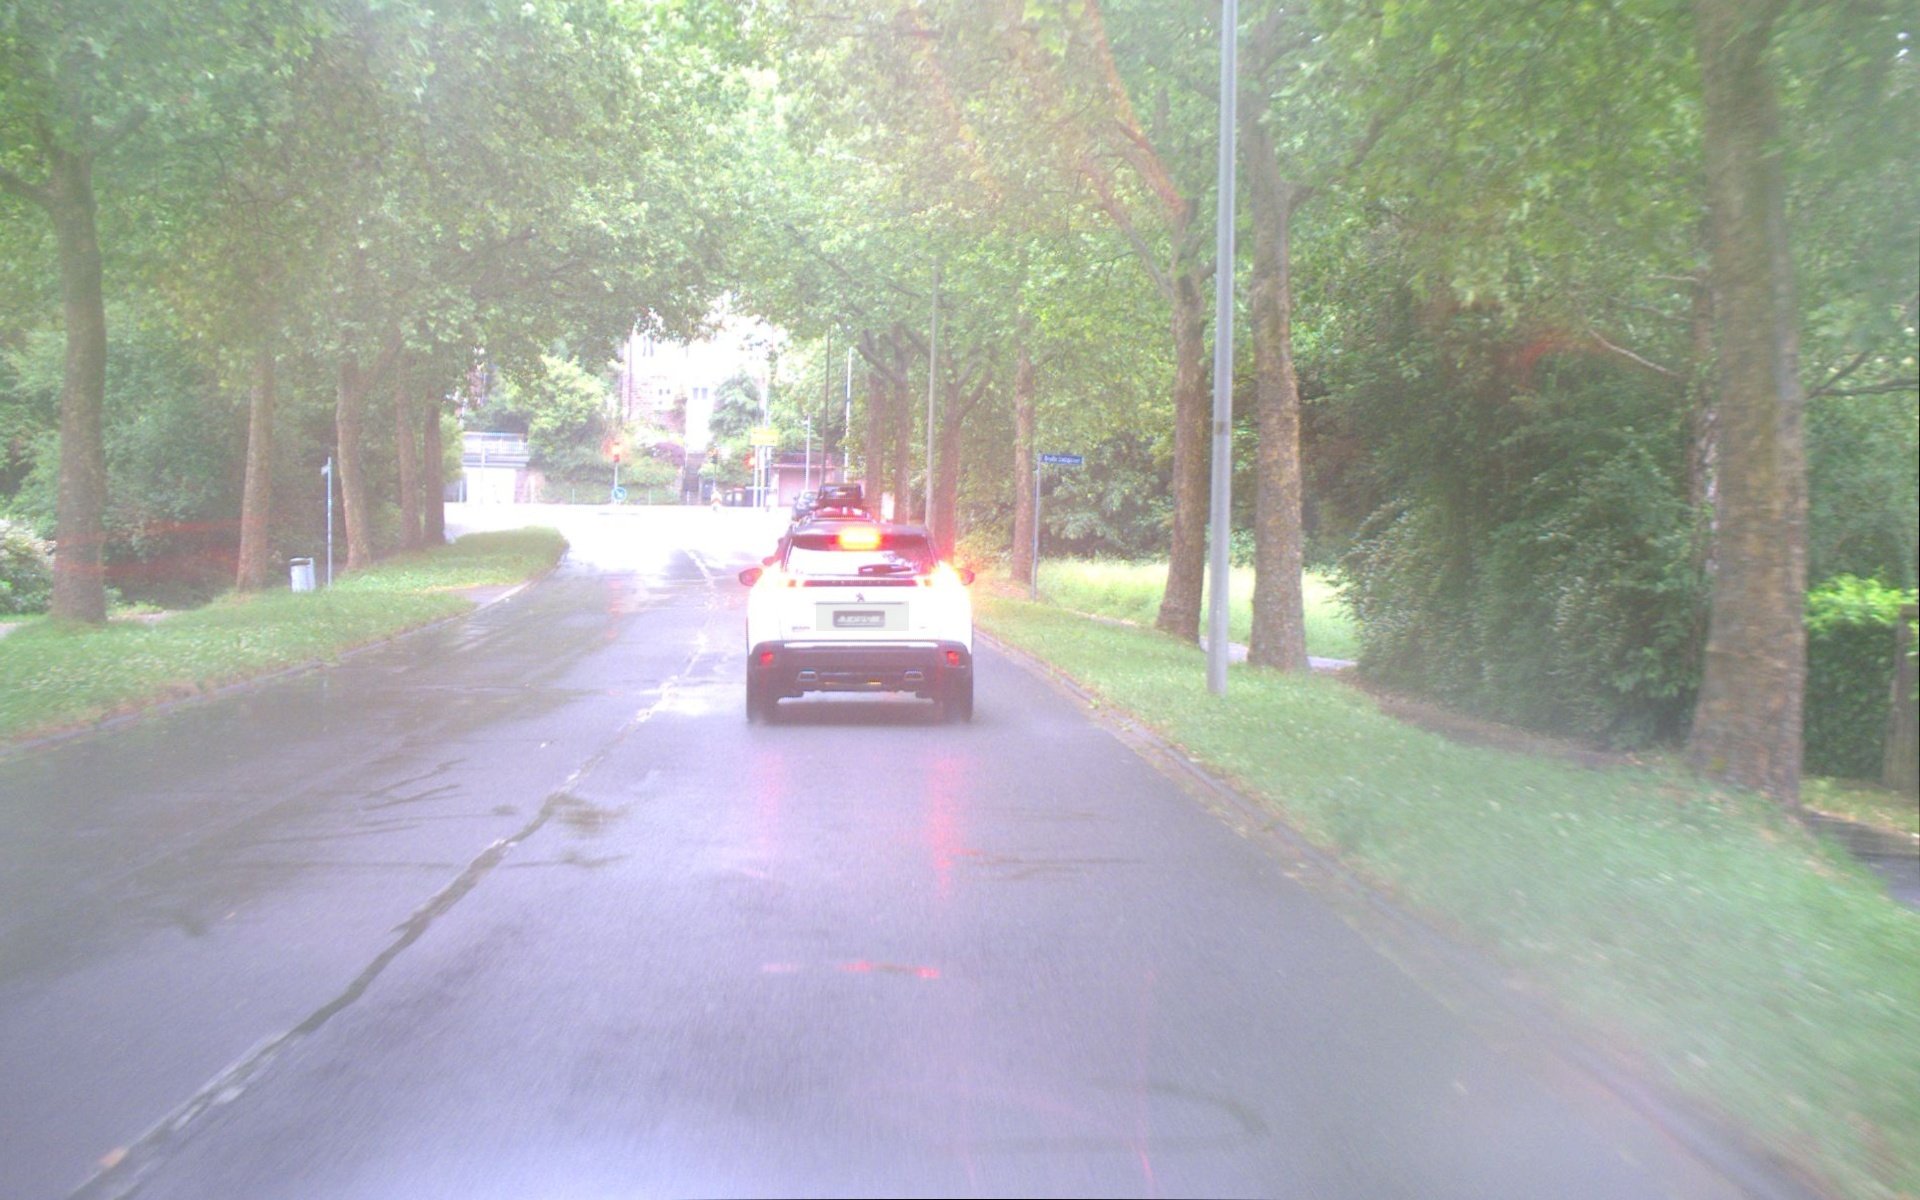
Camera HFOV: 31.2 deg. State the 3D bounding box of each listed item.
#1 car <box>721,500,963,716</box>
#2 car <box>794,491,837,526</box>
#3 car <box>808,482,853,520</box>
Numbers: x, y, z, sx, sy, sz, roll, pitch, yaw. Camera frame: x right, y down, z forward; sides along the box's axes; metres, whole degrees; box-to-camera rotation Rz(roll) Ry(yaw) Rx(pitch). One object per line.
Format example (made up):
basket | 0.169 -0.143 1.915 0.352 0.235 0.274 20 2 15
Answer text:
car | -0.918 0.009 27.842 1.794 1.573 3.845 1 2 -1
car | -6.832 -4.337 163.124 1.827 1.590 3.654 1 1 1
car | -5.759 -4.413 153.463 1.827 1.590 3.654 1 1 1
